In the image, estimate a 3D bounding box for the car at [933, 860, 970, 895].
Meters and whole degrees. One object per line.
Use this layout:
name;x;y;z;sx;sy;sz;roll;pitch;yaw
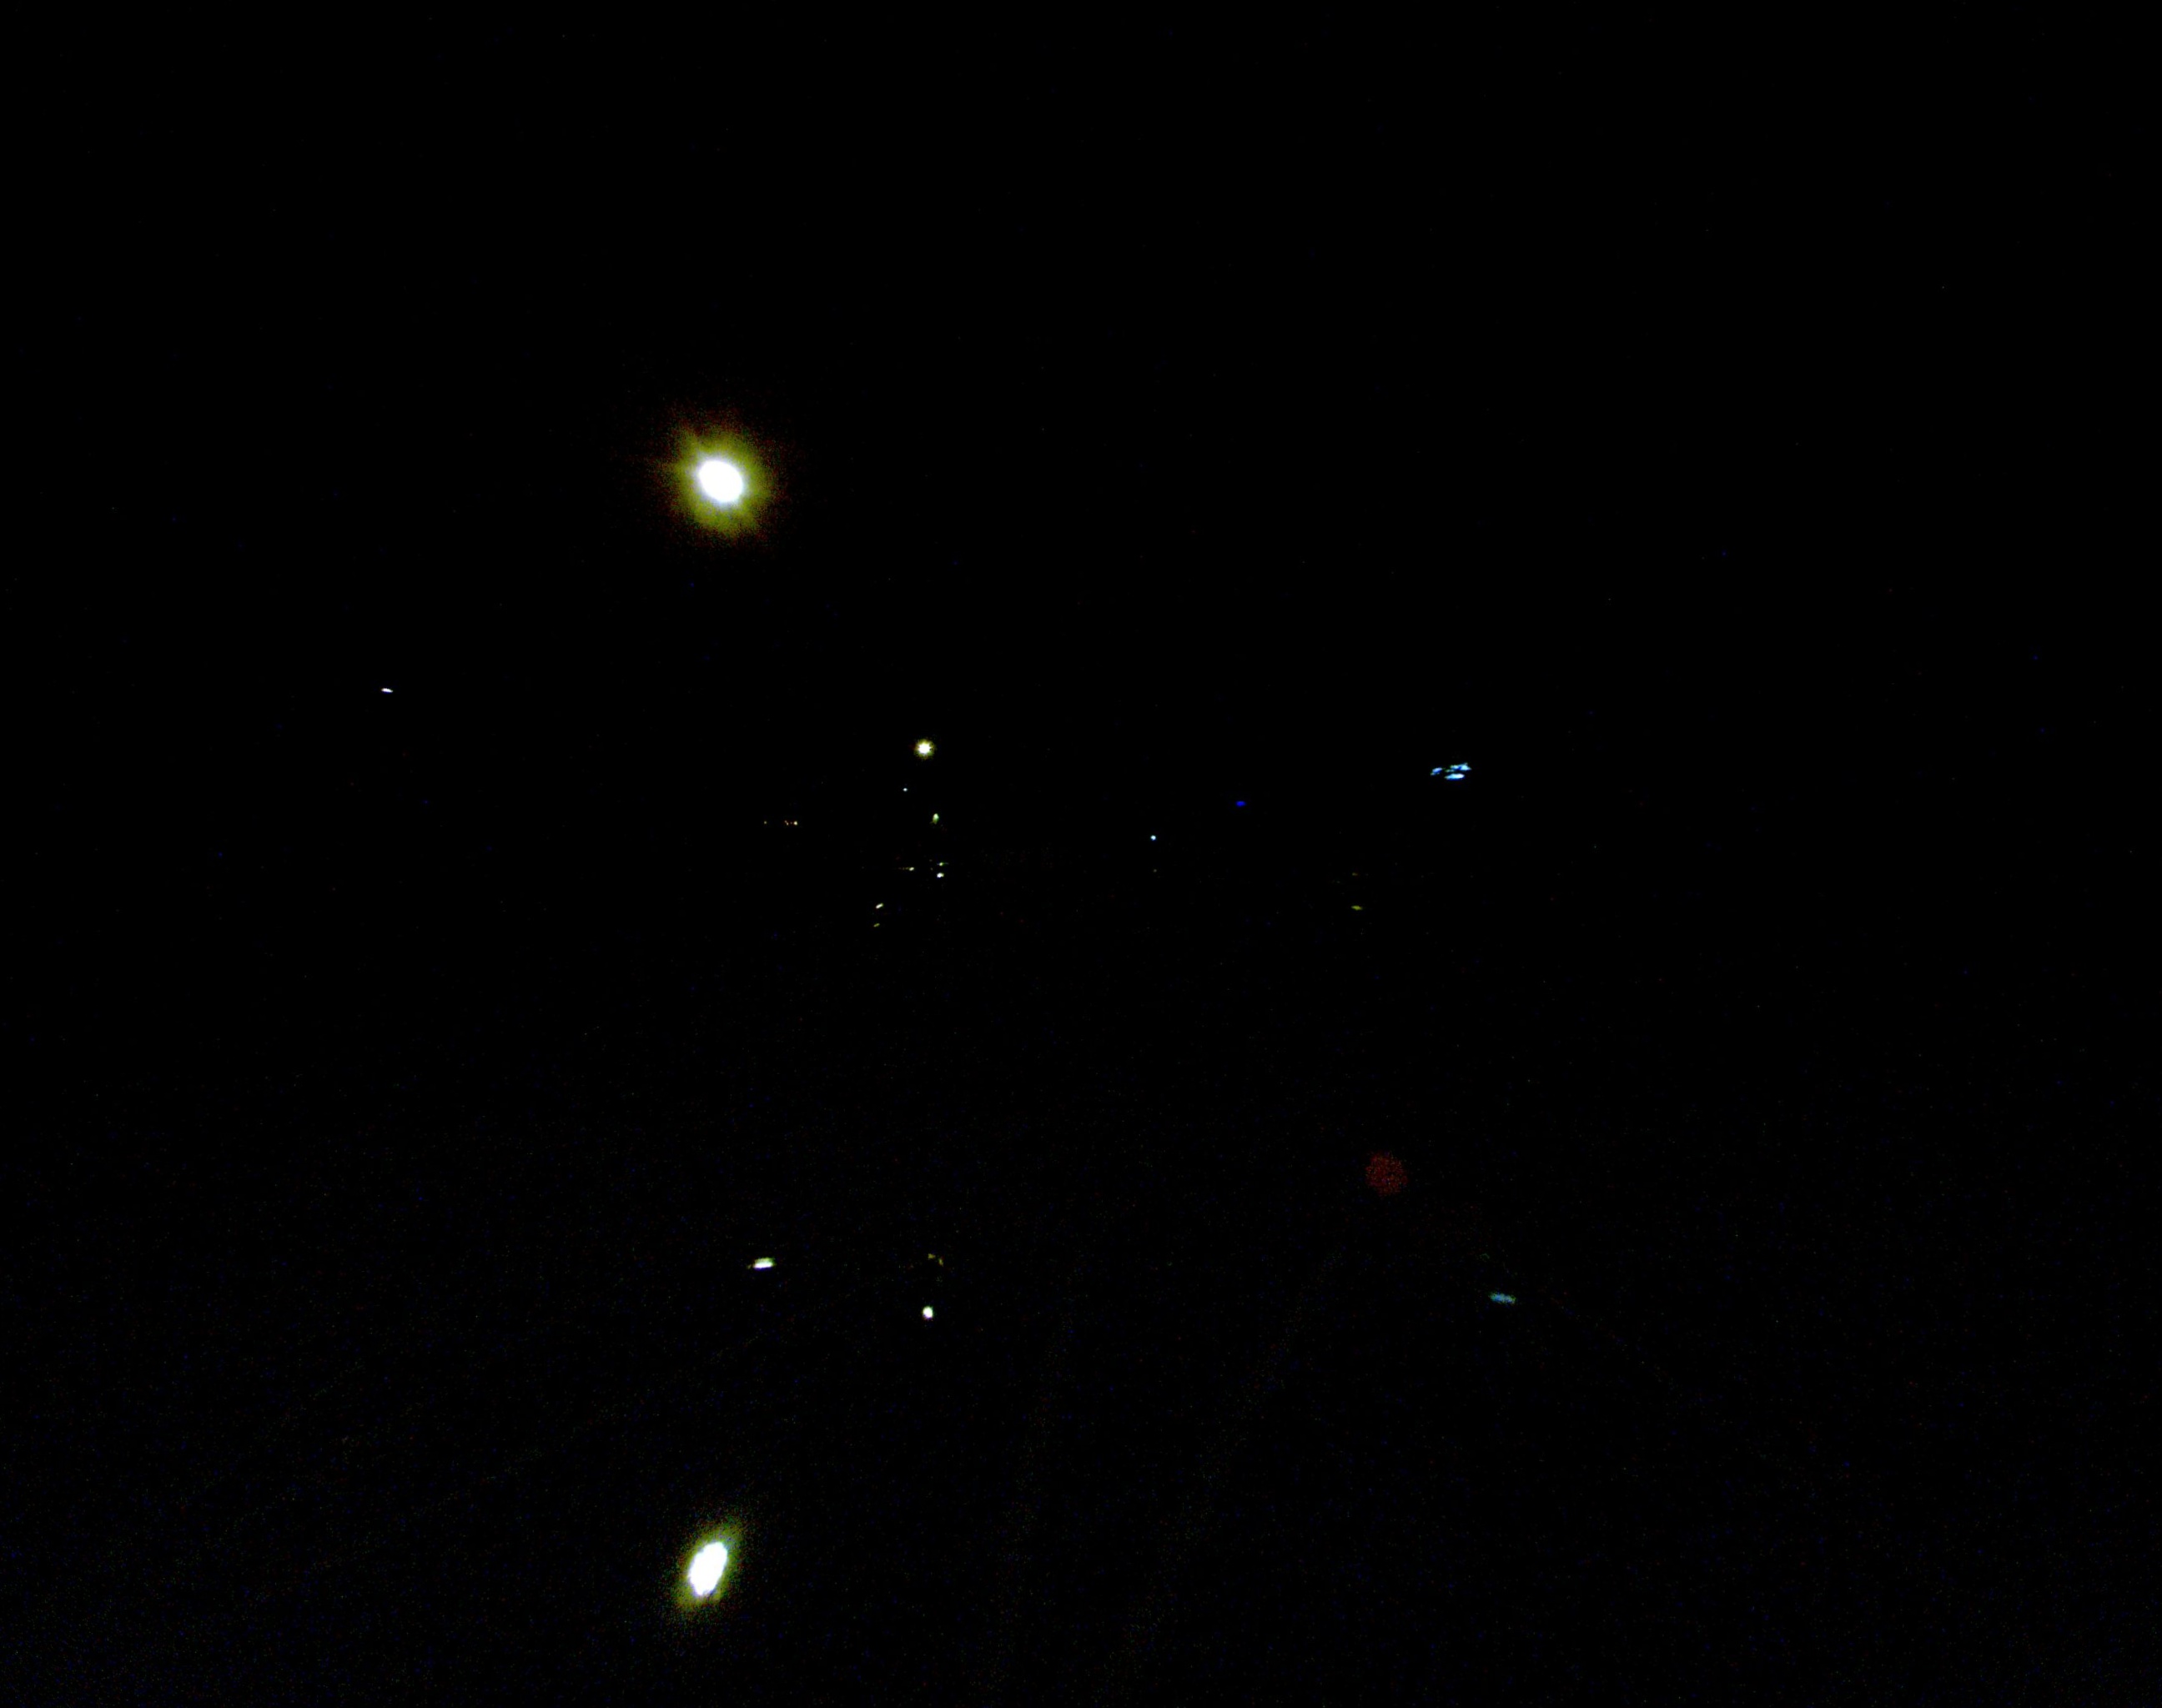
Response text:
car;-6.385;1.104;37.257;1.614;1.503;3.822;-4;0;-10

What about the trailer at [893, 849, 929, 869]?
trailer;-17.821;0.535;79.292;1.498;2.002;4.972;-1;0;-40

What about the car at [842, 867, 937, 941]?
car;-4.578;1.121;18.653;1.716;1.499;3.997;-2;0;-7

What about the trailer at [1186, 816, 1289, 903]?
trailer;5.431;0.176;27.077;2.211;2.779;4.613;-1;0;-7

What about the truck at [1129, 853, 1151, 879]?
truck;6.172;1.228;79.807;2.137;2.597;7.101;0;0;3

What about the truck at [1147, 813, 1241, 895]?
truck;4.808;0.024;33.777;2.380;3.224;7.228;-1;0;-6

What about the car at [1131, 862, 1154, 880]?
car;5.733;1.593;71.049;1.862;1.630;4.000;0;0;1

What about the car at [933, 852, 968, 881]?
car;-9.963;0.973;57.733;2.001;2.002;5.348;-3;0;-15

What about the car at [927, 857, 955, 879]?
car;-11.992;1.186;64.973;1.736;1.769;4.310;-2;0;-18

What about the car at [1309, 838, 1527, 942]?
car;6.593;0.634;15.591;2.000;1.761;4.690;-1;0;-6

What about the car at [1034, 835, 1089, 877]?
car;-1.720;0.185;62.624;2.392;3.224;7.220;-1;0;-20

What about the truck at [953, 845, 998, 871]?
truck;-13.359;0.555;95.527;2.756;3.047;9.317;-1;0;-26

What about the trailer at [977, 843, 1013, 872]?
trailer;-9.704;0.456;85.159;2.492;3.054;7.942;-1;0;-17

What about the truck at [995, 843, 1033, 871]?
truck;-6.819;0.334;76.883;2.002;2.767;7.232;-1;0;-20

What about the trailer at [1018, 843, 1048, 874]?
trailer;-4.474;0.433;70.471;2.004;2.749;3.995;1;-1;-15
